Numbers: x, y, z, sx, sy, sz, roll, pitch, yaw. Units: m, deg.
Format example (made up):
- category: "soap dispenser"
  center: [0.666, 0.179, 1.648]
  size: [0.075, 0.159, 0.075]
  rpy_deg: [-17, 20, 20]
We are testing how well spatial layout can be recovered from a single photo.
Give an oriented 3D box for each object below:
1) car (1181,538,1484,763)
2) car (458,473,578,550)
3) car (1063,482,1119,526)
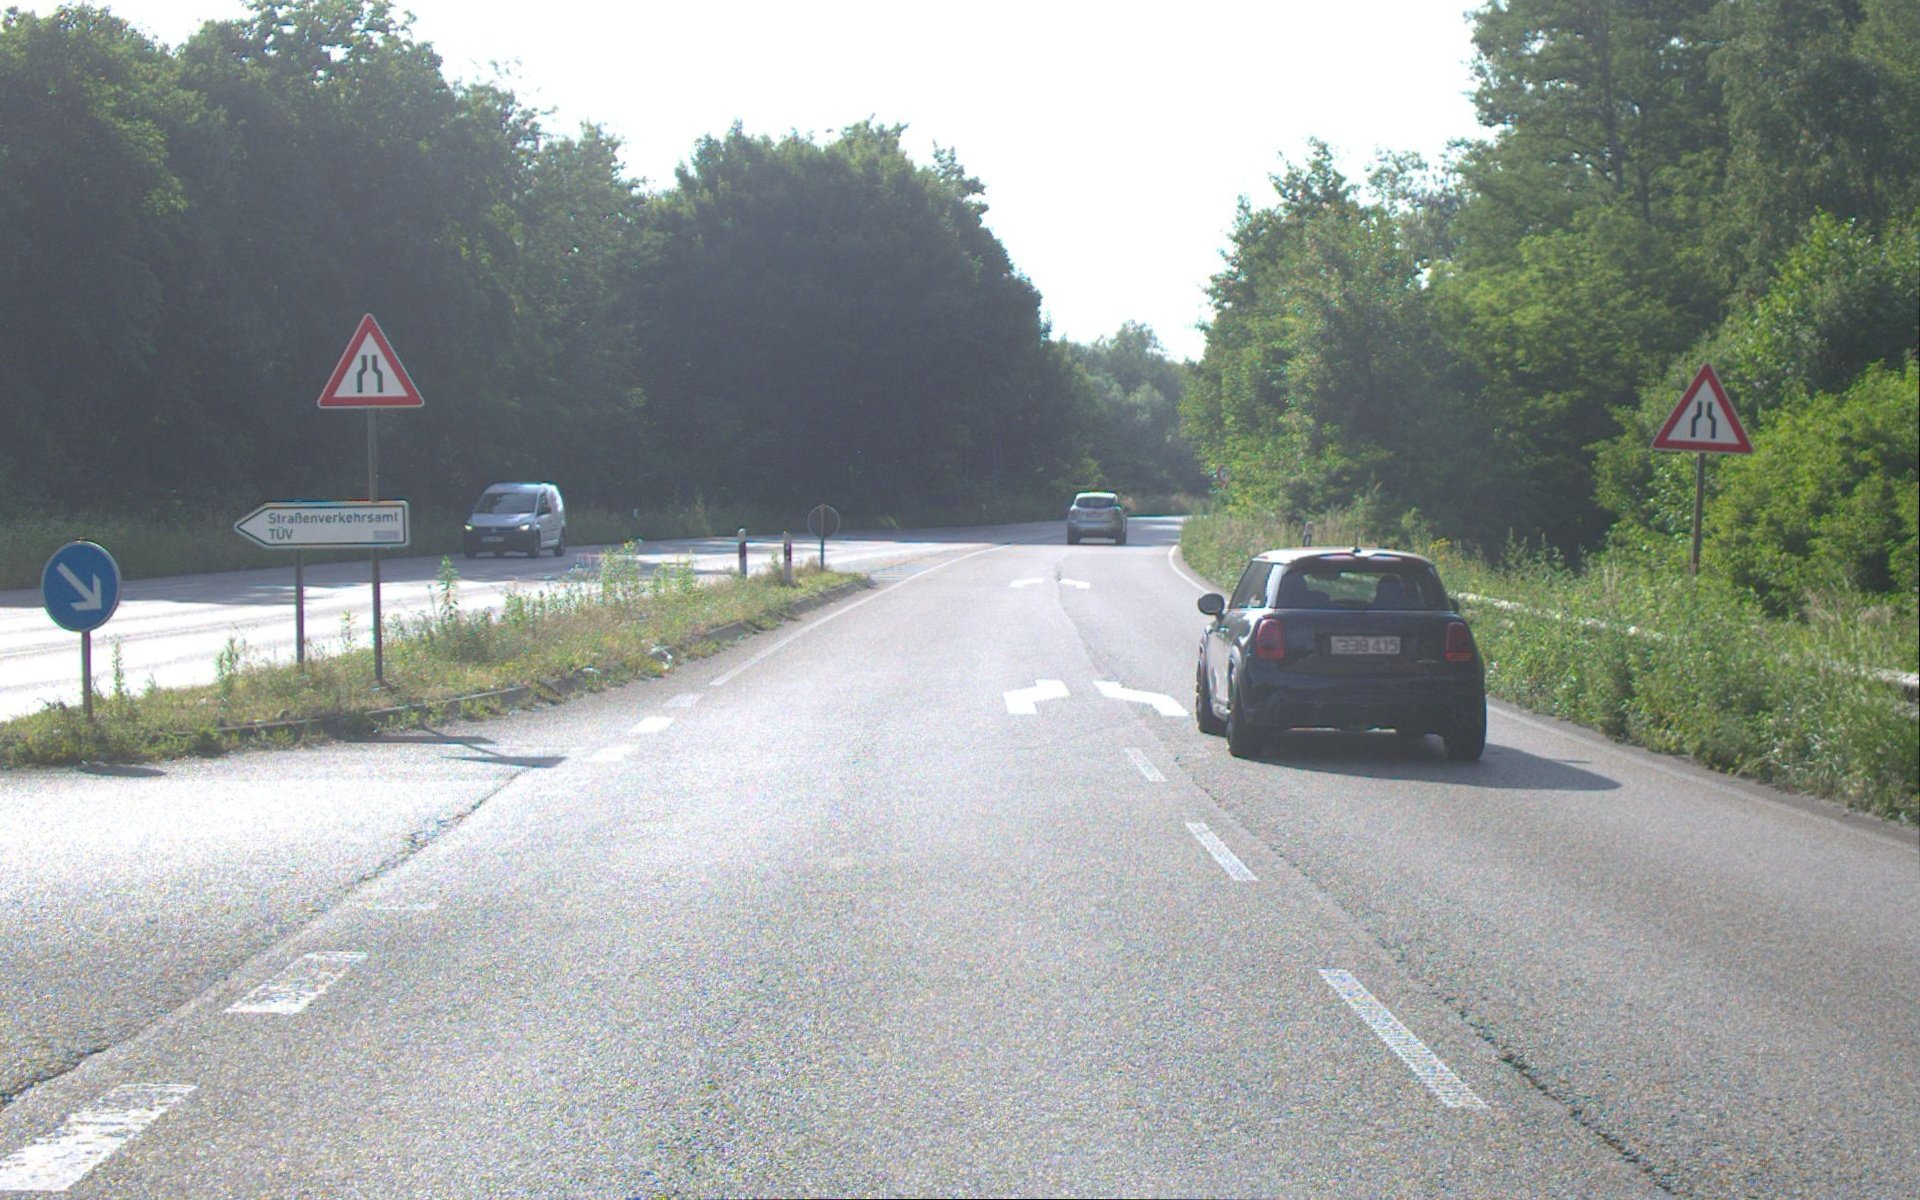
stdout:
- category: "car"
  center: [2.590, 0.311, 24.719]
  size: [1.820, 1.463, 3.873]
  rpy_deg: [1, 1, 1]
- category: "car"
  center: [-10.702, -2.127, 83.583]
  size: [1.851, 1.780, 4.669]
  rpy_deg: [1, 1, 6]
- category: "car"
  center: [4.338, -3.139, 113.271]
  size: [1.761, 1.375, 3.971]
  rpy_deg: [1, 1, 3]
